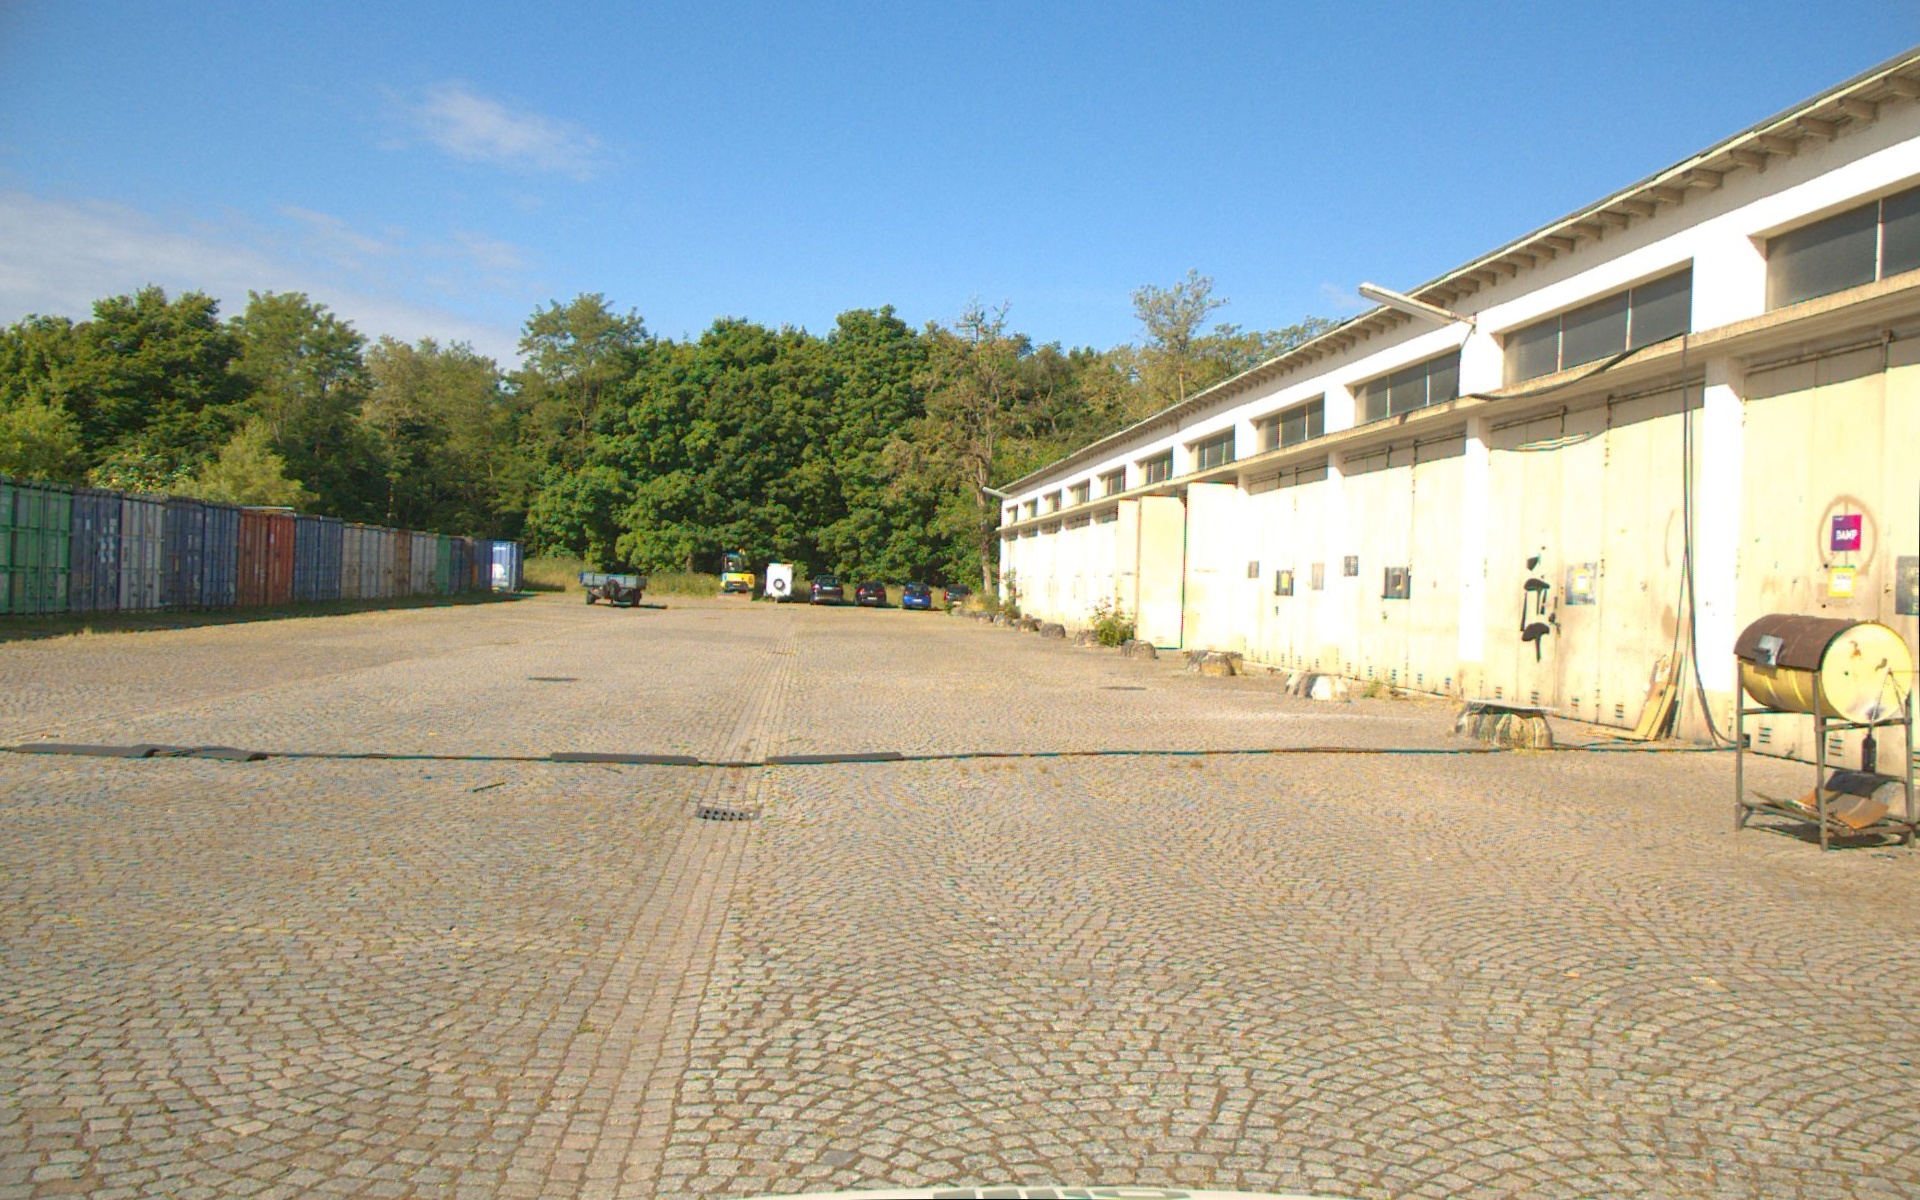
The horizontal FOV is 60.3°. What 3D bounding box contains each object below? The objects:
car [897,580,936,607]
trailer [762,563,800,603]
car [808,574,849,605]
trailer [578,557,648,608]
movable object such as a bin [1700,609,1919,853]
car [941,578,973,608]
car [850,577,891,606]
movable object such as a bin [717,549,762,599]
[{"bbox_3d":[-2.433,-0.374,93.207,1.952,1.445,4.001,2,0,1],"label":"car"},{"bbox_3d":[-10.135,-0.953,93.928,1.757,2.126,3.970,2,0,-1],"label":"trailer"},{"bbox_3d":[-7.334,-0.585,92.376,1.823,1.613,4.001,2,0,1],"label":"car"},{"bbox_3d":[-15.537,-0.781,74.282,2.360,2.048,4.170,4,0,-3],"label":"trailer"},{"bbox_3d":[5.276,0.756,10.061,0.808,1.355,1.277,2,0,-10],"label":"movable object such as a bin"},{"bbox_3d":[-0.153,-0.407,94.677,1.650,1.591,4.001,2,0,1],"label":"car"},{"bbox_3d":[-5.000,-0.478,92.944,1.952,1.488,4.001,2,0,1],"label":"car"},{"bbox_3d":[-12.485,-1.449,93.962,1.953,2.663,3.999,4,0,-1],"label":"movable object such as a bin"}]
